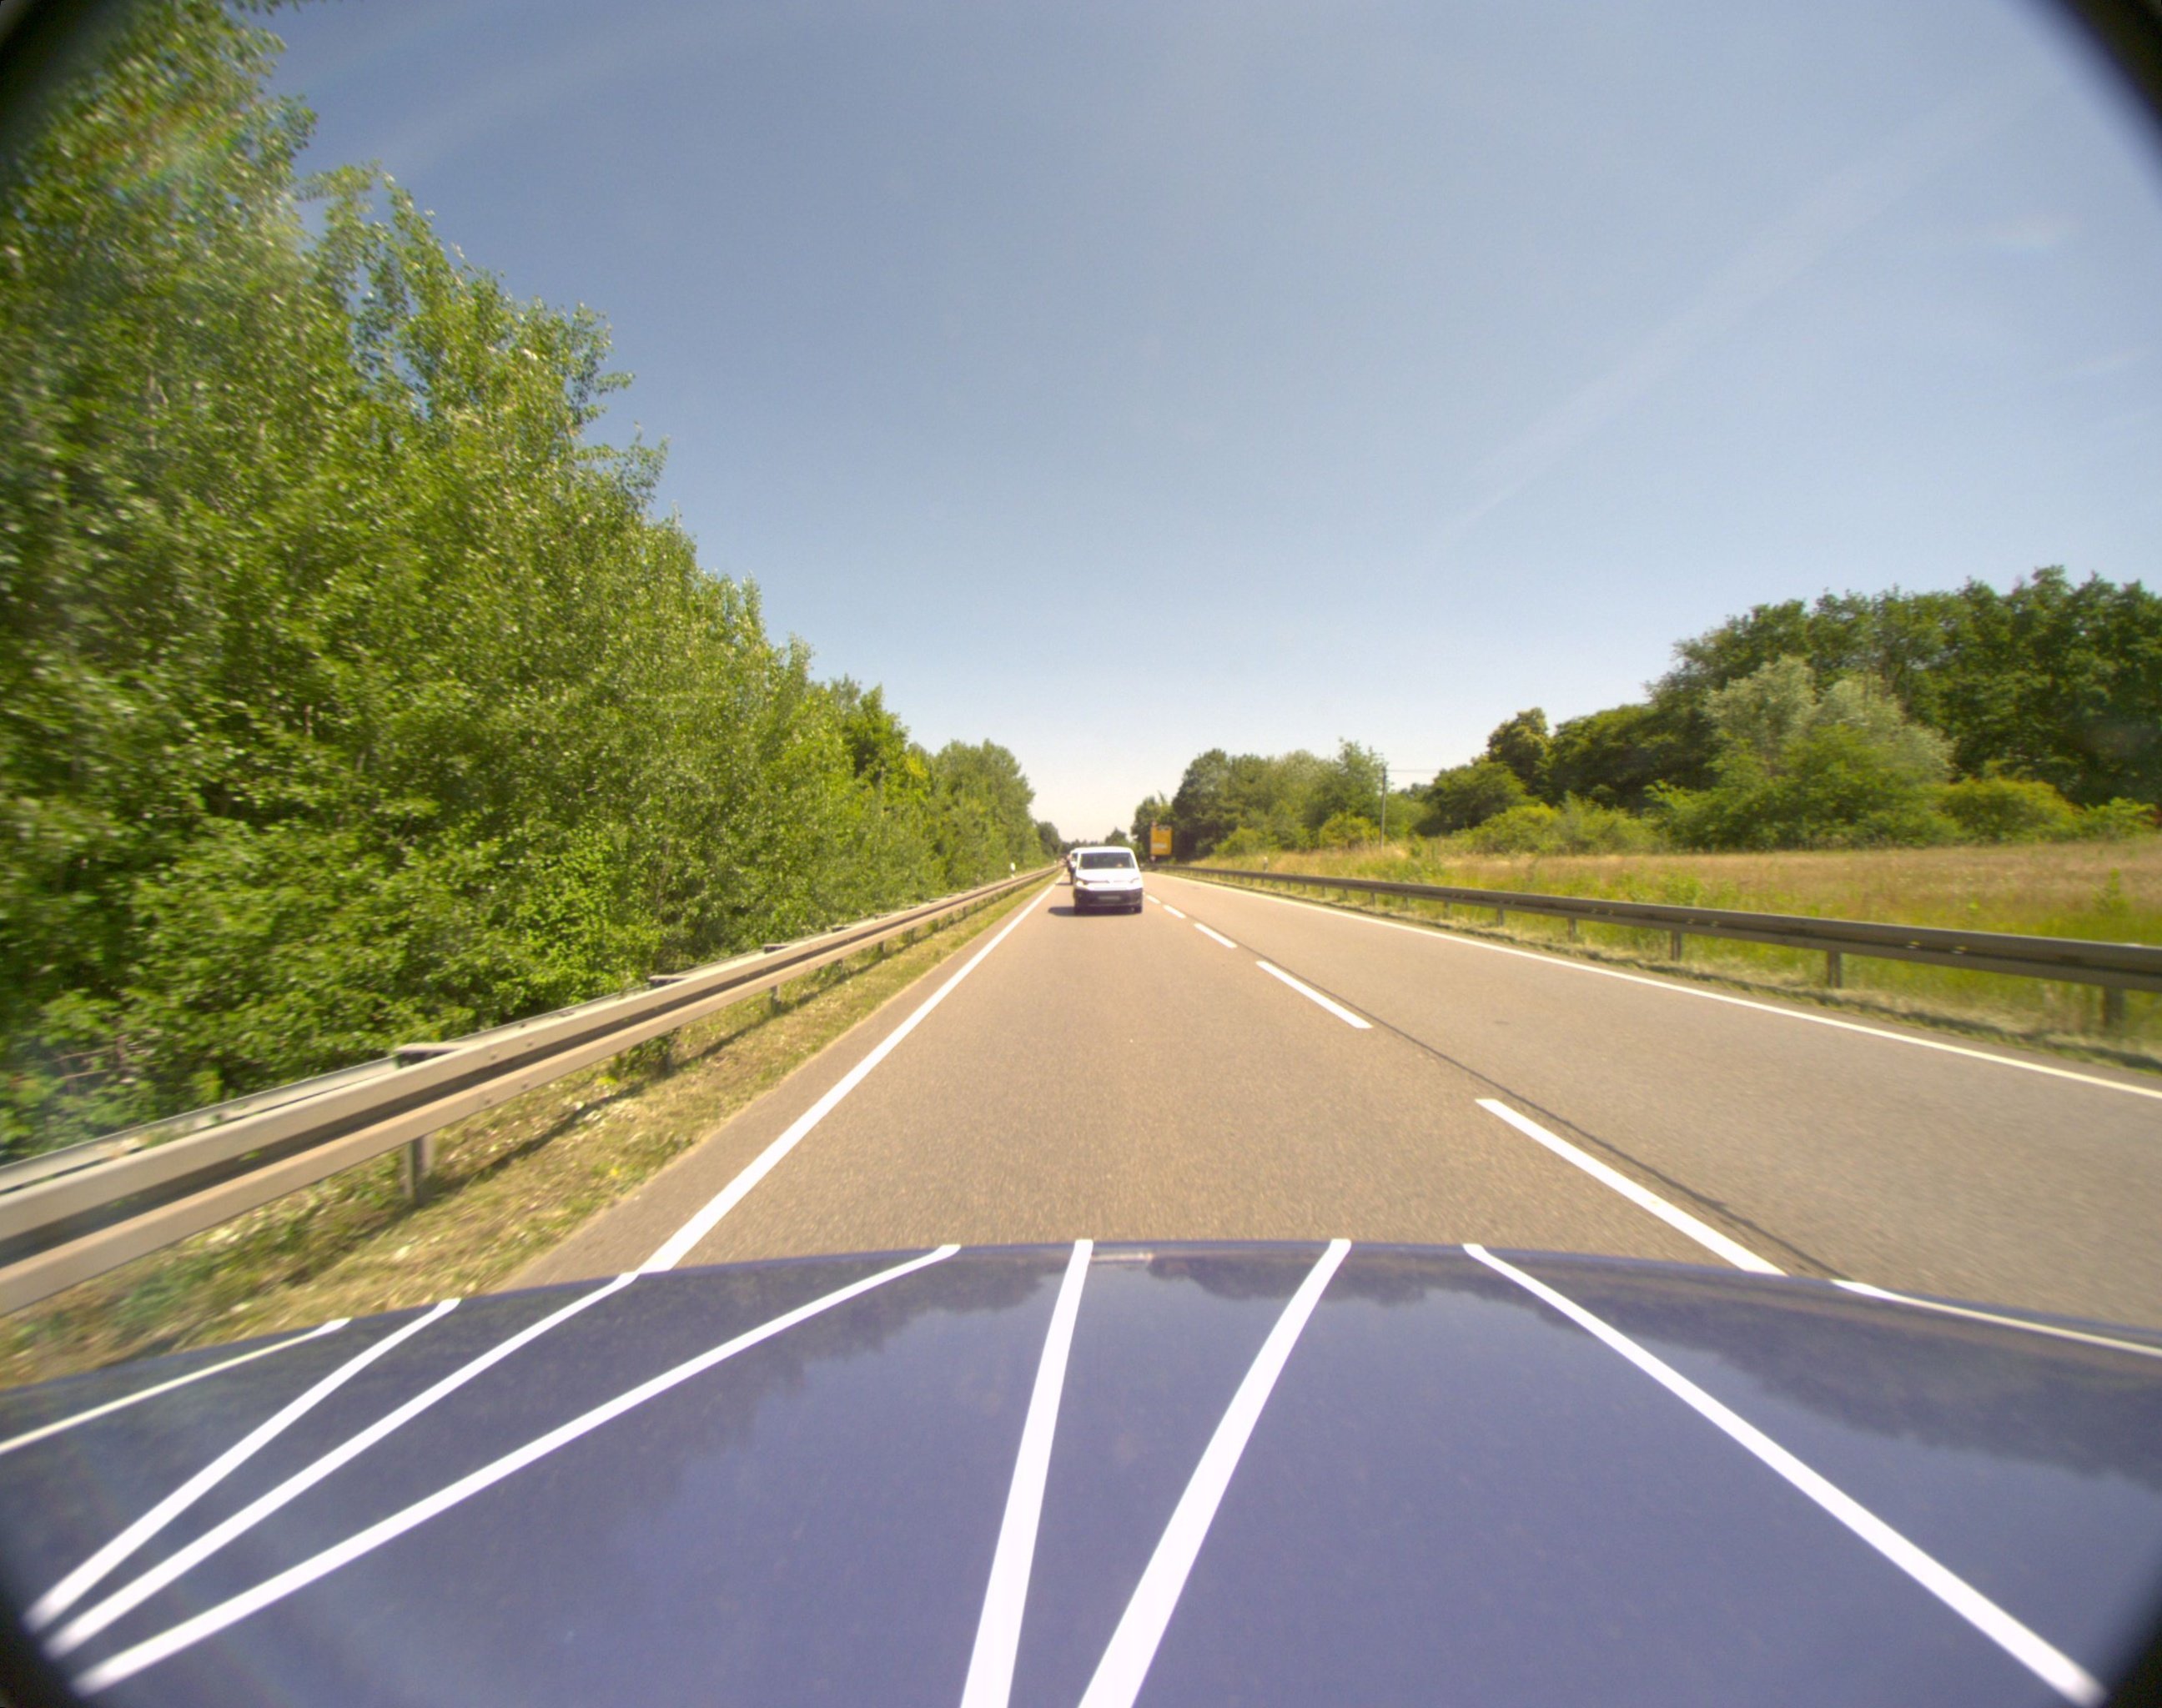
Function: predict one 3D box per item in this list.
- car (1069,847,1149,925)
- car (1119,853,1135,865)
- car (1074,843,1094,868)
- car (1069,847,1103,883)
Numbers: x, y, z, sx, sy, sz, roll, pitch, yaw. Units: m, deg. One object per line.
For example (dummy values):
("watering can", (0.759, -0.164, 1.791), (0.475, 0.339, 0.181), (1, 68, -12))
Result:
("car", (0.667, 0.715, 19.698), (1.782, 1.743, 4.512), (-2, 0, 1))
("car", (6.674, 0.674, 110.773), (1.998, 1.622, 3.999), (-2, 0, 0))
("car", (0.309, 0.129, 71.379), (1.782, 2.287, 4.105), (-2, 1, 1))
("car", (0.289, 0.598, 43.891), (1.782, 1.960, 4.105), (-2, 0, 1))
